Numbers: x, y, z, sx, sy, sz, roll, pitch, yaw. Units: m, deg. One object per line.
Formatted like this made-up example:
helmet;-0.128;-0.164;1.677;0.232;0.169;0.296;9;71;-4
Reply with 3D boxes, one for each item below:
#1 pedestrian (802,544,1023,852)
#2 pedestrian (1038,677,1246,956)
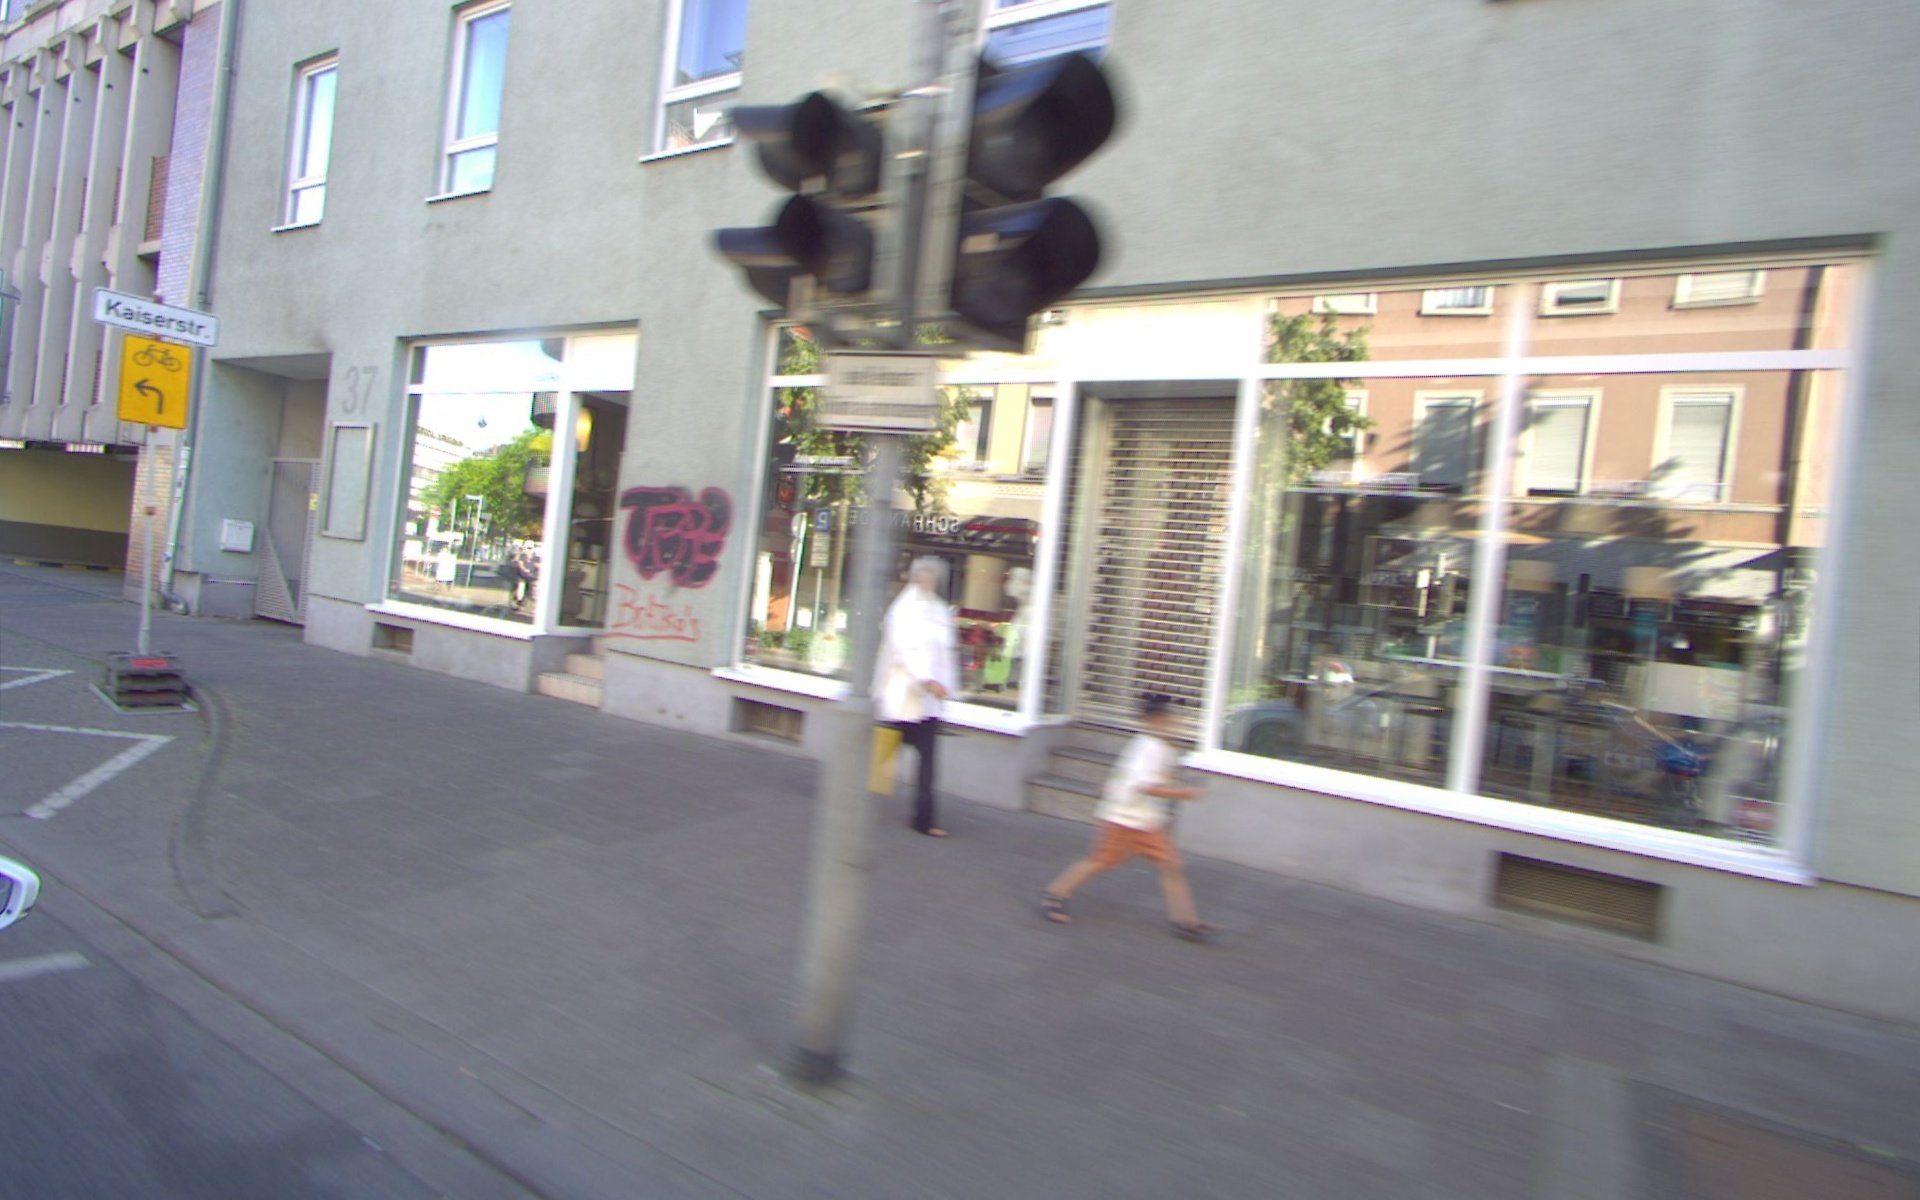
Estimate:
pedestrian;-0.283;0.517;5.833;1.003;1.581;0.580;7;4;30
pedestrian;0.809;0.922;4.495;0.727;1.047;0.393;7;4;30
